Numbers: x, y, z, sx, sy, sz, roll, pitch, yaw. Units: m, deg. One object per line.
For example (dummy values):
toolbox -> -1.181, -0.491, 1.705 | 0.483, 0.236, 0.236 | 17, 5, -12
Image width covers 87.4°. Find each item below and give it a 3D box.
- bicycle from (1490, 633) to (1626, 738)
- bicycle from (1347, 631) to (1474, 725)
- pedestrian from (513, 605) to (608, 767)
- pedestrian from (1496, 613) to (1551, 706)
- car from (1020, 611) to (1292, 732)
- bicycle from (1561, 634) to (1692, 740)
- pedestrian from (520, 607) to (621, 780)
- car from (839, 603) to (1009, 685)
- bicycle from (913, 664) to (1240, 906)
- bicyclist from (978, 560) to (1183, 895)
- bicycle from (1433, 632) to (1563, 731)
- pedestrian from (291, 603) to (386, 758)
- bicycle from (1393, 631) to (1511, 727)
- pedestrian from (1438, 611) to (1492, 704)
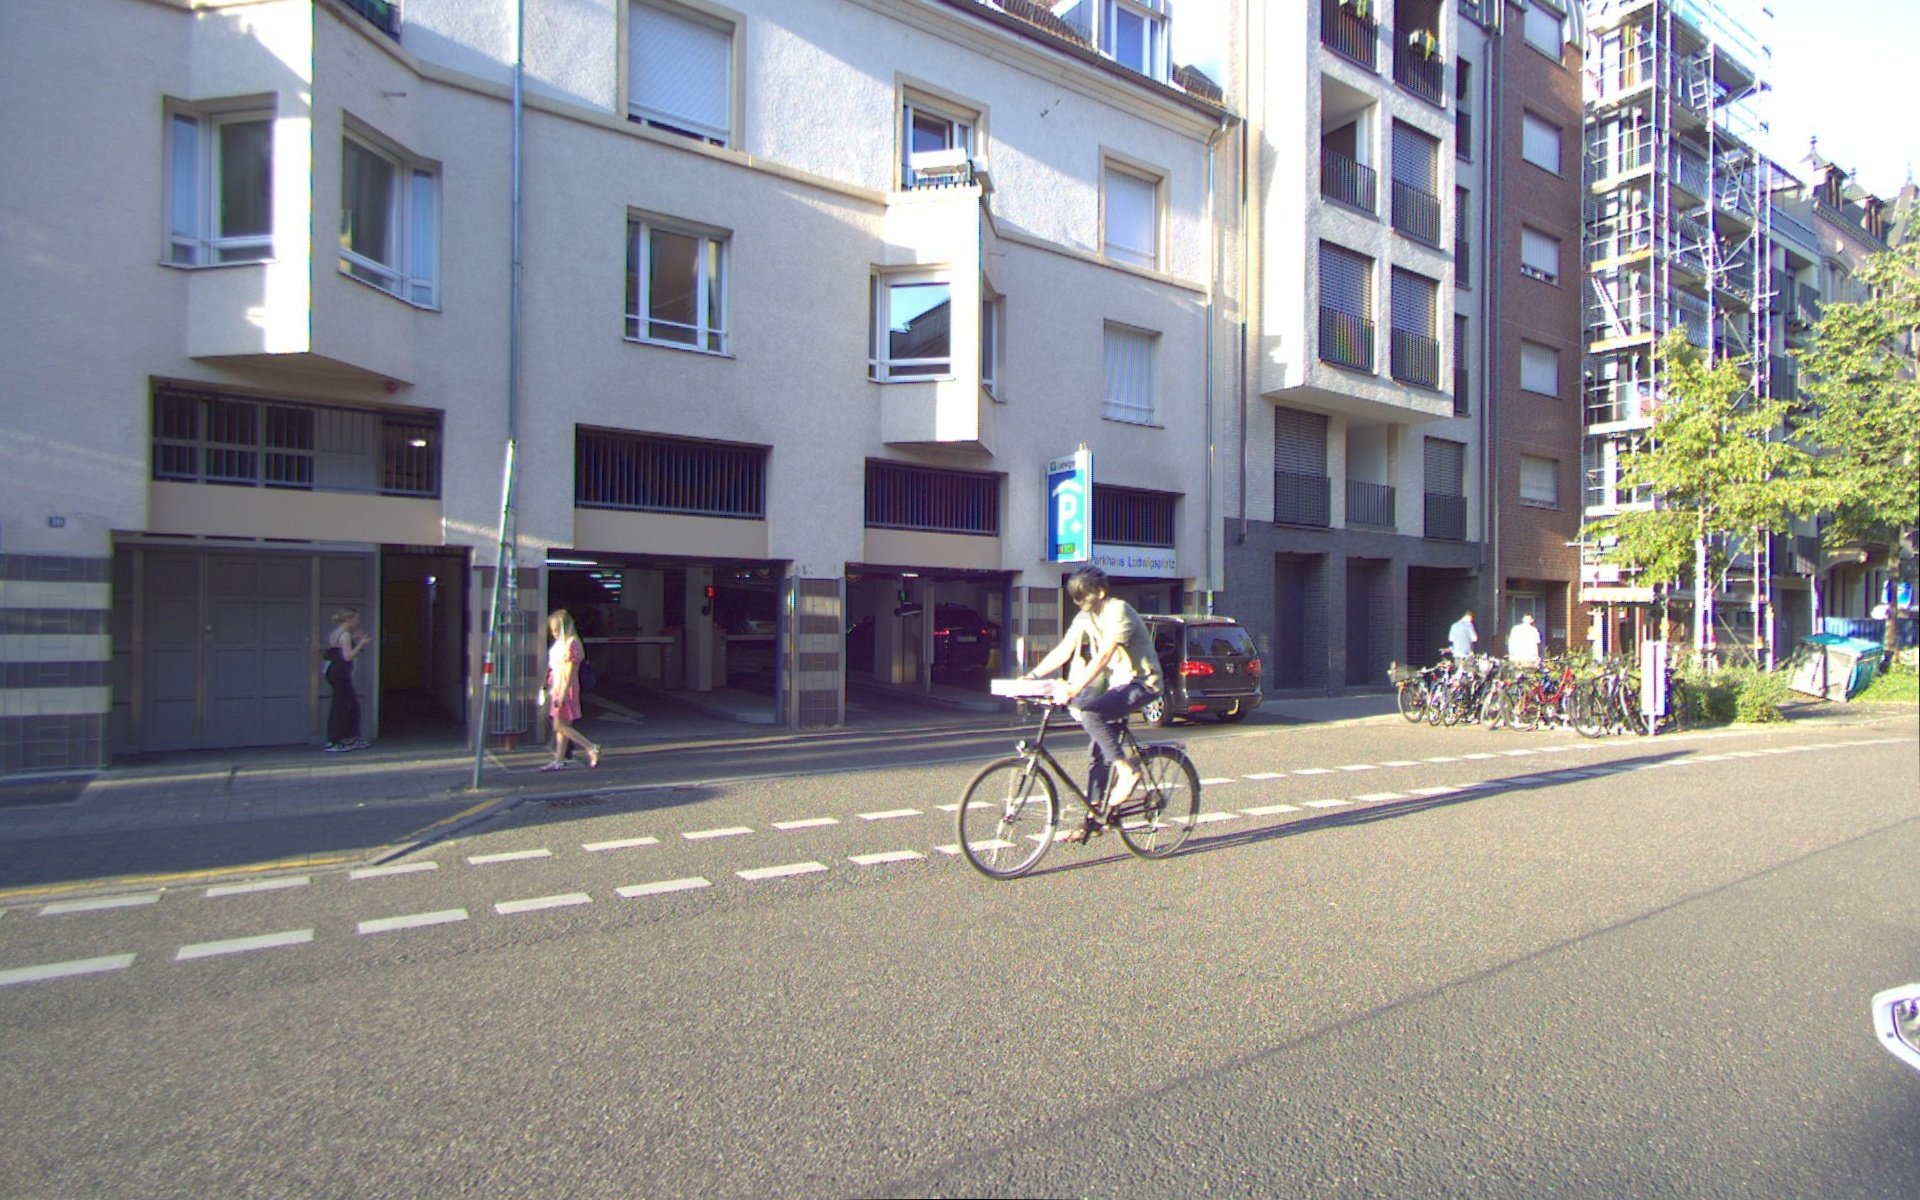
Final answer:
bicycle -> 9.047, 1.213, 15.112 | 3.143, 1.414, 0.884 | 2, -1, -42
bicycle -> 7.564, 1.252, 16.763 | 3.130, 1.414, 0.714 | 2, 0, -42
pedestrian -> -4.341, 0.899, 10.894 | 0.845, 1.663, 0.713 | 2, 0, -29
pedestrian -> 11.089, 1.152, 19.759 | 0.733, 1.763, 0.710 | 2, 0, -41
car -> 3.049, 1.064, 16.649 | 1.976, 1.623, 4.474 | 2, 0, -29
bicycle -> 9.635, 1.183, 14.441 | 3.163, 1.368, 0.837 | 2, -2, -42
pedestrian -> -3.968, 0.917, 10.219 | 0.845, 1.663, 0.713 | 2, 0, -29
car -> -0.936, 0.923, 22.832 | 1.977, 1.623, 4.473 | 2, 0, -30
bicycle -> 0.760, 1.022, 6.154 | 2.001, 1.220, 0.775 | 2, -2, -36
bicyclist -> 0.743, 0.727, 6.181 | 0.997, 1.853, 0.775 | 2, -2, -36
bicycle -> 8.480, 1.216, 15.747 | 3.119, 1.391, 0.773 | 2, 0, -42
pedestrian -> -6.929, 0.870, 11.227 | 0.845, 1.637, 0.713 | 2, 0, -31
bicycle -> 8.011, 1.221, 16.262 | 3.138, 1.414, 0.579 | 2, 0, -42
pedestrian -> 10.011, 1.125, 19.916 | 0.689, 1.790, 0.710 | 2, 0, -41
